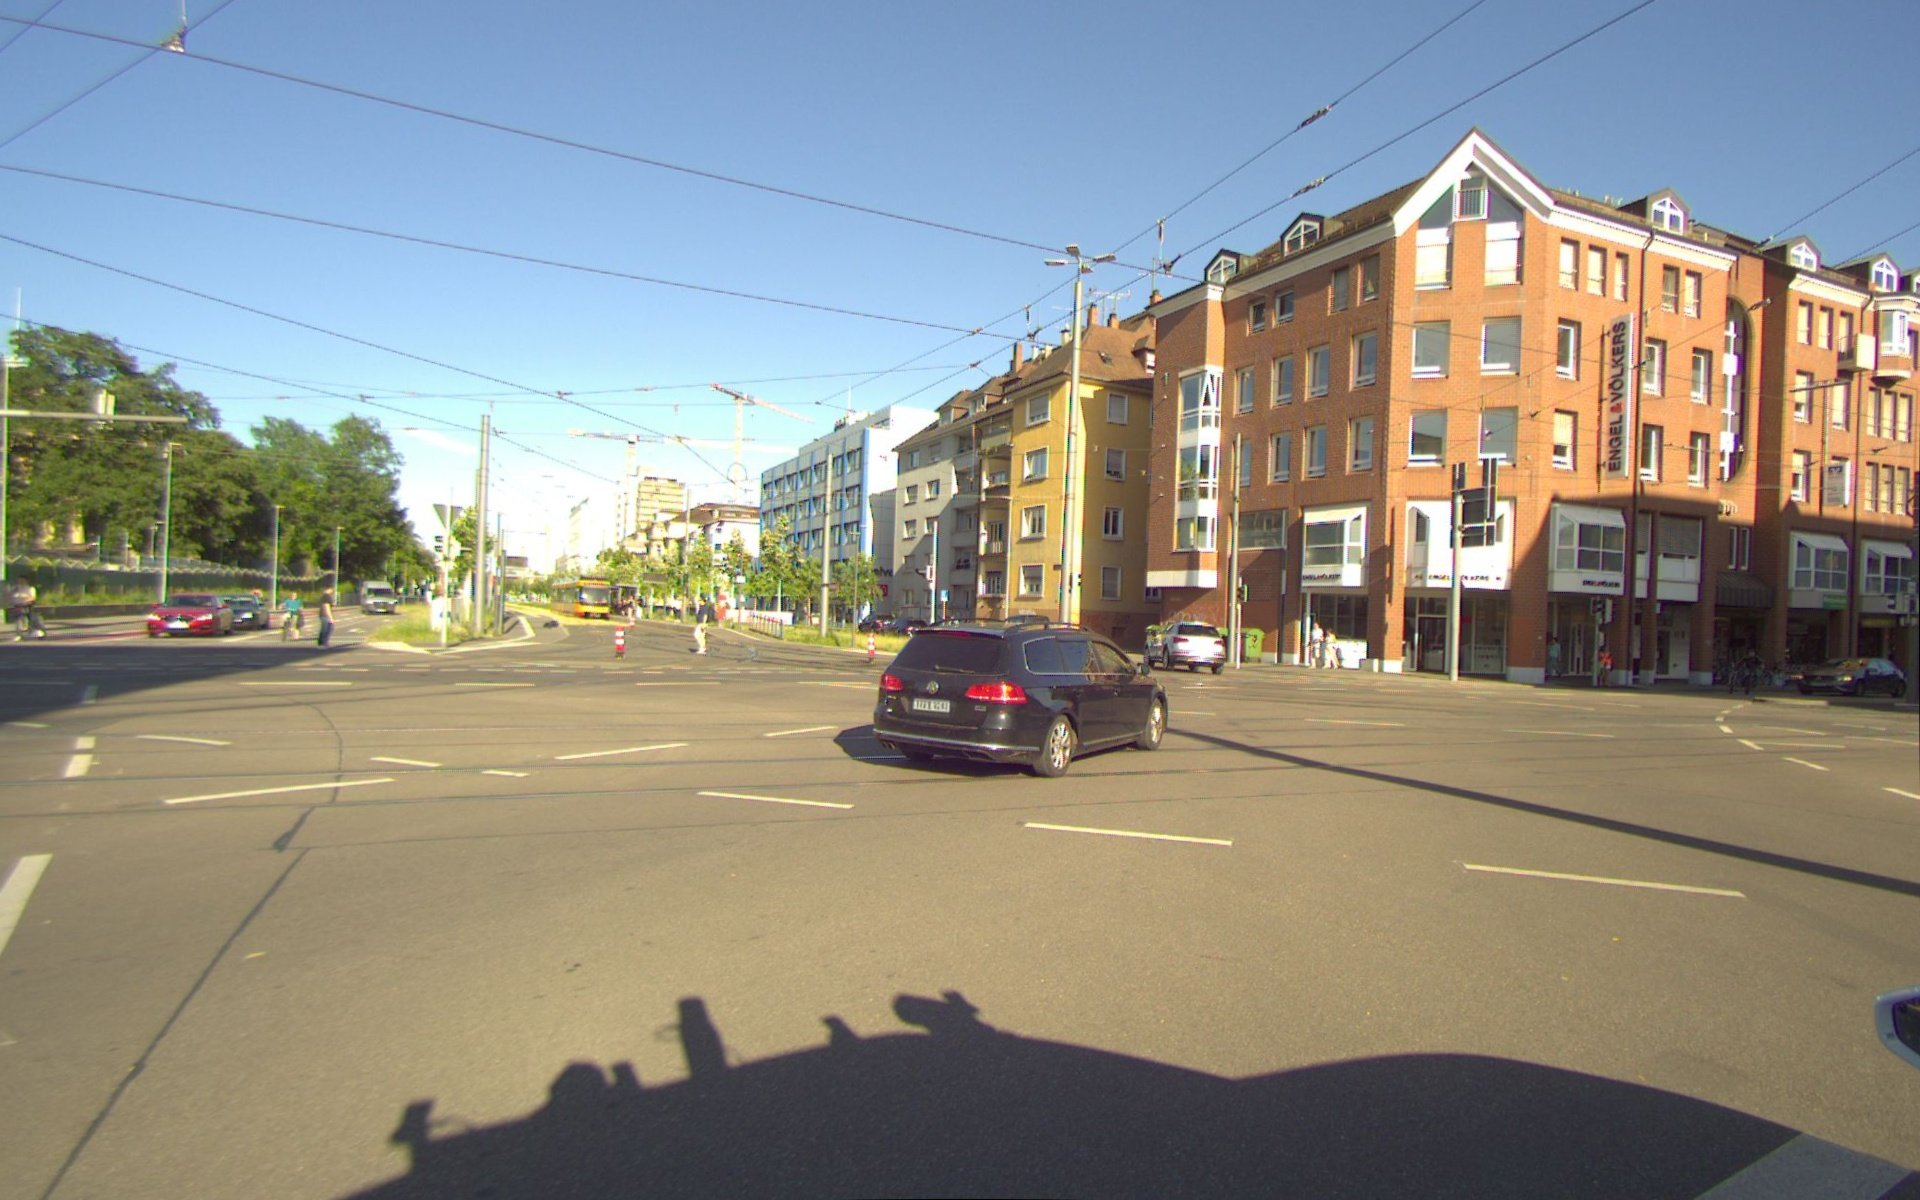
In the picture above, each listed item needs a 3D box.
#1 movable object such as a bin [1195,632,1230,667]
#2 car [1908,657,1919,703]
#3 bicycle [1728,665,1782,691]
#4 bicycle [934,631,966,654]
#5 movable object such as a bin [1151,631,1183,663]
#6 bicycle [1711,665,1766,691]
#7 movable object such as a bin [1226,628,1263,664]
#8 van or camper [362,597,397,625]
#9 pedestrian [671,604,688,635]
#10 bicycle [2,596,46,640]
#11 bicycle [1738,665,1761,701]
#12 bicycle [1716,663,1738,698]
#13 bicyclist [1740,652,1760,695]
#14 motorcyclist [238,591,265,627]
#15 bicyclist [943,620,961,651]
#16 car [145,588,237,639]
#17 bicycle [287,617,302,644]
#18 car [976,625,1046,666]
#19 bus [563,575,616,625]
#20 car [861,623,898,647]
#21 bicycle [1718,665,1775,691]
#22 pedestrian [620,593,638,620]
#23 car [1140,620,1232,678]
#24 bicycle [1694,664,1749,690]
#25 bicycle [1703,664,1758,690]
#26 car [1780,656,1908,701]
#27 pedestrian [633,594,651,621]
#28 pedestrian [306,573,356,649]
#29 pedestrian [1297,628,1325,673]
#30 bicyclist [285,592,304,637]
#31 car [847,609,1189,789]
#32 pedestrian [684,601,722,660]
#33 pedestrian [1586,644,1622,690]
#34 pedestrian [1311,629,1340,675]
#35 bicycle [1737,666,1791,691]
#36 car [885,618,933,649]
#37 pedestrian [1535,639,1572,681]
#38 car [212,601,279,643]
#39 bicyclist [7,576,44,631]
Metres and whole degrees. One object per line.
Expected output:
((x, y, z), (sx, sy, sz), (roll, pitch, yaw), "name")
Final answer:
((11.420, 2.238, 45.457), (1.083, 1.455, 0.991), (3, -1, -29), "movable object such as a bin")
((34.960, 2.839, 34.817), (3.741, 1.564, 1.812), (3, -3, -25), "car")
((32.854, 3.213, 41.524), (0.514, 0.912, 1.706), (3, -1, -23), "bicycle")
((-0.596, 2.541, 60.019), (2.011, 1.239, 0.625), (3, -1, 43), "bicycle")
((9.987, 2.254, 48.388), (1.083, 1.455, 0.991), (3, -1, -29), "movable object such as a bin")
((31.754, 3.159, 41.003), (0.514, 0.912, 1.706), (3, -1, -23), "bicycle")
((12.308, 1.992, 43.476), (1.083, 1.455, 0.991), (3, -1, -29), "movable object such as a bin")
((-45.551, 0.837, 78.745), (1.961, 2.027, 4.314), (3, -1, -34), "van or camper")
((-18.595, 1.287, 66.531), (0.795, 2.036, 0.799), (3, 0, -35), "pedestrian")
((-26.311, 0.493, 28.247), (0.606, 1.148, 1.486), (3, -1, -33), "bicycle")
((28.179, 2.949, 35.867), (0.483, 1.173, 1.678), (3, -1, 34), "bicycle")
((27.784, 2.908, 36.379), (0.483, 1.173, 1.711), (3, -1, 34), "bicycle")
((28.182, 2.609, 35.843), (0.475, 1.490, 0.717), (3, 0, 34), "bicyclist")
((-31.516, 0.410, 44.673), (0.772, 1.544, 0.917), (3, 0, -27), "motorcyclist")
((-0.465, 2.093, 59.913), (0.818, 1.795, 0.611), (3, 0, 42), "bicyclist")
((-25.528, 0.454, 33.484), (1.761, 1.529, 4.529), (3, -2, -29), "car")
((-20.417, 0.923, 30.809), (0.317, 0.774, 1.164), (3, -1, -35), "bicycle")
((2.335, 2.083, 46.740), (1.558, 1.639, 3.757), (3, -1, -26), "car")
((-29.635, -0.044, 80.073), (2.913, 3.610, 9.366), (3, -1, -26), "bus")
((-6.036, 2.592, 75.000), (1.544, 1.639, 3.296), (3, -1, -26), "car")
((32.280, 3.181, 41.240), (0.578, 0.912, 1.755), (3, -1, -23), "bicycle")
((-25.324, 0.507, 76.852), (0.915, 2.036, 1.001), (3, 0, -35), "pedestrian")
((7.333, 1.556, 32.882), (1.811, 1.656, 3.482), (3, -1, -7), "car")
((30.710, 3.089, 40.521), (0.514, 0.912, 1.706), (3, -1, -23), "bicycle")
((31.235, 3.128, 40.755), (0.514, 0.912, 1.706), (3, -1, -23), "bicycle")
((32.339, 2.873, 36.755), (3.916, 1.473, 1.816), (3, -3, -19), "car")
((-24.512, 0.557, 77.424), (0.915, 2.036, 1.001), (3, 0, -35), "pedestrian")
((-16.840, 0.295, 26.919), (0.782, 1.959, 0.725), (3, 0, 0), "pedestrian")
((13.935, 1.997, 39.915), (0.703, 1.750, 0.685), (3, 0, -29), "pedestrian")
((-20.457, 0.444, 30.869), (0.396, 1.333, 0.455), (3, 0, -36), "bicyclist")
((0.880, 0.911, 10.912), (1.739, 1.463, 4.519), (2, -1, 32), "car")
((-7.815, 0.921, 30.584), (0.918, 1.733, 0.693), (3, 0, -26), "pedestrian")
((23.749, 2.468, 37.050), (0.766, 1.615, 0.710), (3, 3, -22), "pedestrian")
((14.283, 2.022, 39.233), (0.703, 1.750, 0.685), (3, 0, -29), "pedestrian")
((33.415, 3.262, 41.762), (0.514, 0.912, 1.706), (3, -1, -23), "bicycle")
((-3.031, 1.959, 59.032), (1.707, 1.571, 3.454), (3, -1, -23), "car")
((23.800, 2.391, 40.291), (0.847, 1.589, 0.887), (3, 0, -2), "pedestrian")
((-28.497, 0.839, 40.178), (1.555, 1.491, 3.687), (3, -1, -27), "car")
((-26.311, 0.087, 28.287), (0.603, 1.513, 0.610), (3, 0, -34), "bicyclist")
